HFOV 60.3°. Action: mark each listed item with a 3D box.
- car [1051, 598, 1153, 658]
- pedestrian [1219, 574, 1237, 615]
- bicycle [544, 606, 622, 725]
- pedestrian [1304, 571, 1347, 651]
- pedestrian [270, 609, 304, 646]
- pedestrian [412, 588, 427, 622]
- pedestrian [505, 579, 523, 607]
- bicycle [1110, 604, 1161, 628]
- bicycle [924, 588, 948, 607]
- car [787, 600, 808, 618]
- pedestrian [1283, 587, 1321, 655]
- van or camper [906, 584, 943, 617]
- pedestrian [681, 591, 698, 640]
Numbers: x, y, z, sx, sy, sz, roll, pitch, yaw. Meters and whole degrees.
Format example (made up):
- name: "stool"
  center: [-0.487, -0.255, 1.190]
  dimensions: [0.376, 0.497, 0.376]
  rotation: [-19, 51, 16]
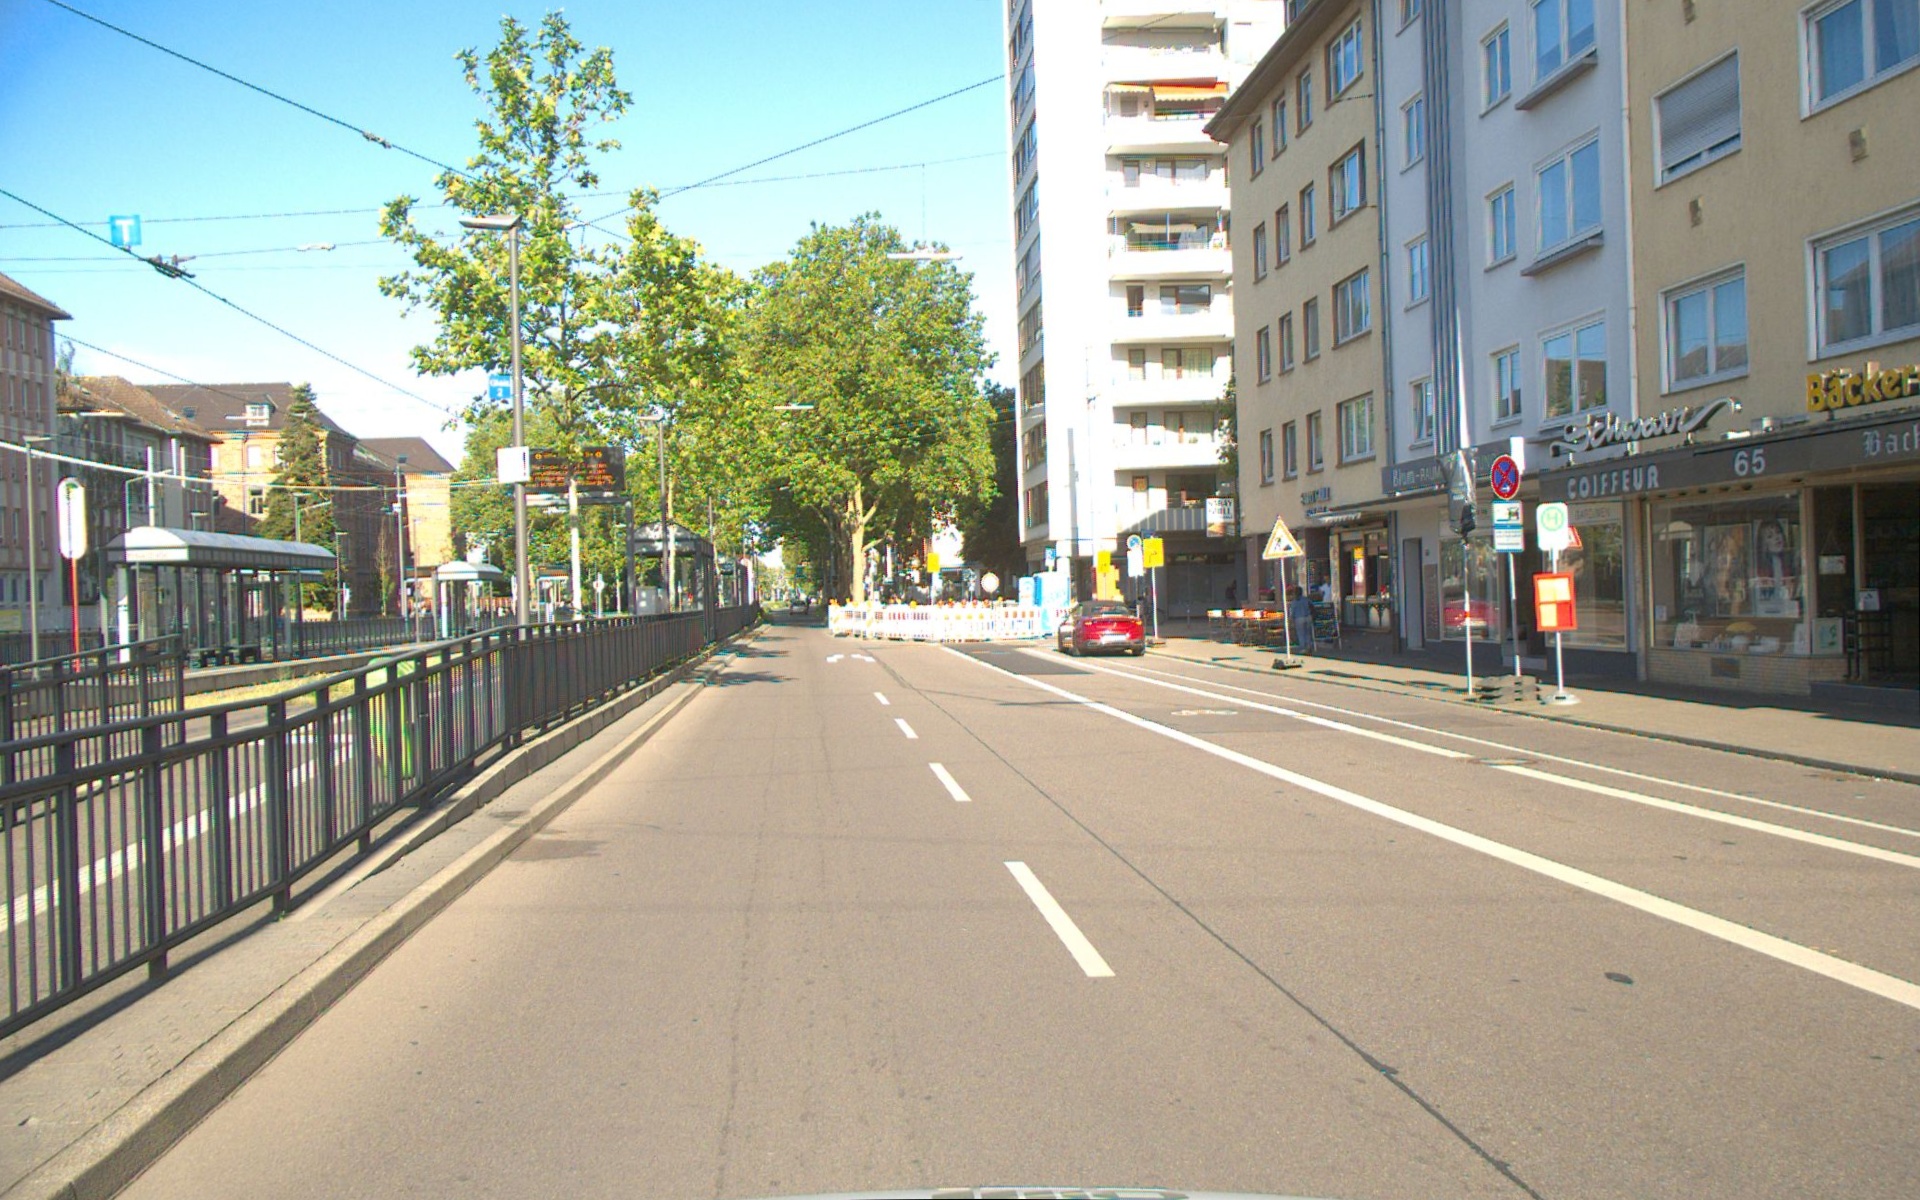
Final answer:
- name: "car"
  center: [3.714, 0.702, 44.136]
  dimensions: [1.835, 1.468, 5.154]
  rotation: [-2, 0, -5]
- name: "pedestrian"
  center: [12.301, -0.247, 75.887]
  dimensions: [0.642, 1.887, 0.678]
  rotation: [1, -1, -4]
- name: "bicycle"
  center: [-4.765, 0.791, 21.040]
  dimensions: [0.627, 1.403, 2.167]
  rotation: [-2, 0, -5]
- name: "pedestrian"
  center: [8.817, 0.260, 39.919]
  dimensions: [0.715, 1.887, 0.899]
  rotation: [-1, 0, -7]
- name: "pedestrian"
  center: [-25.907, 1.064, 63.676]
  dimensions: [0.956, 1.400, 0.878]
  rotation: [-1, 0, -6]
- name: "pedestrian"
  center: [-33.491, 0.309, 102.547]
  dimensions: [0.650, 2.049, 0.859]
  rotation: [-2, 0, -6]
- name: "pedestrian"
  center: [-28.550, -0.456, 105.986]
  dimensions: [0.934, 1.766, 0.729]
  rotation: [-2, 0, -3]
- name: "bicycle"
  center: [7.414, 0.673, 69.749]
  dimensions: [1.985, 0.959, 1.018]
  rotation: [-1, 0, 14]
- name: "bicycle"
  center: [-1.708, -0.185, 118.842]
  dimensions: [1.575, 1.285, 0.960]
  rotation: [-2, 0, -10]
- name: "car"
  center: [-15.862, 0.837, 161.378]
  dimensions: [1.982, 1.691, 3.995]
  rotation: [-2, 0, -6]
- name: "pedestrian"
  center: [7.884, 0.486, 38.155]
  dimensions: [0.658, 1.533, 0.651]
  rotation: [-1, 0, -6]
- name: "van or camper"
  center: [-2.631, 0.046, 122.608]
  dimensions: [2.247, 2.326, 5.815]
  rotation: [-1, 0, -6]
- name: "pedestrian"
  center: [-11.464, 0.645, 70.102]
  dimensions: [0.655, 2.049, 0.715]
  rotation: [-1, 0, -9]
